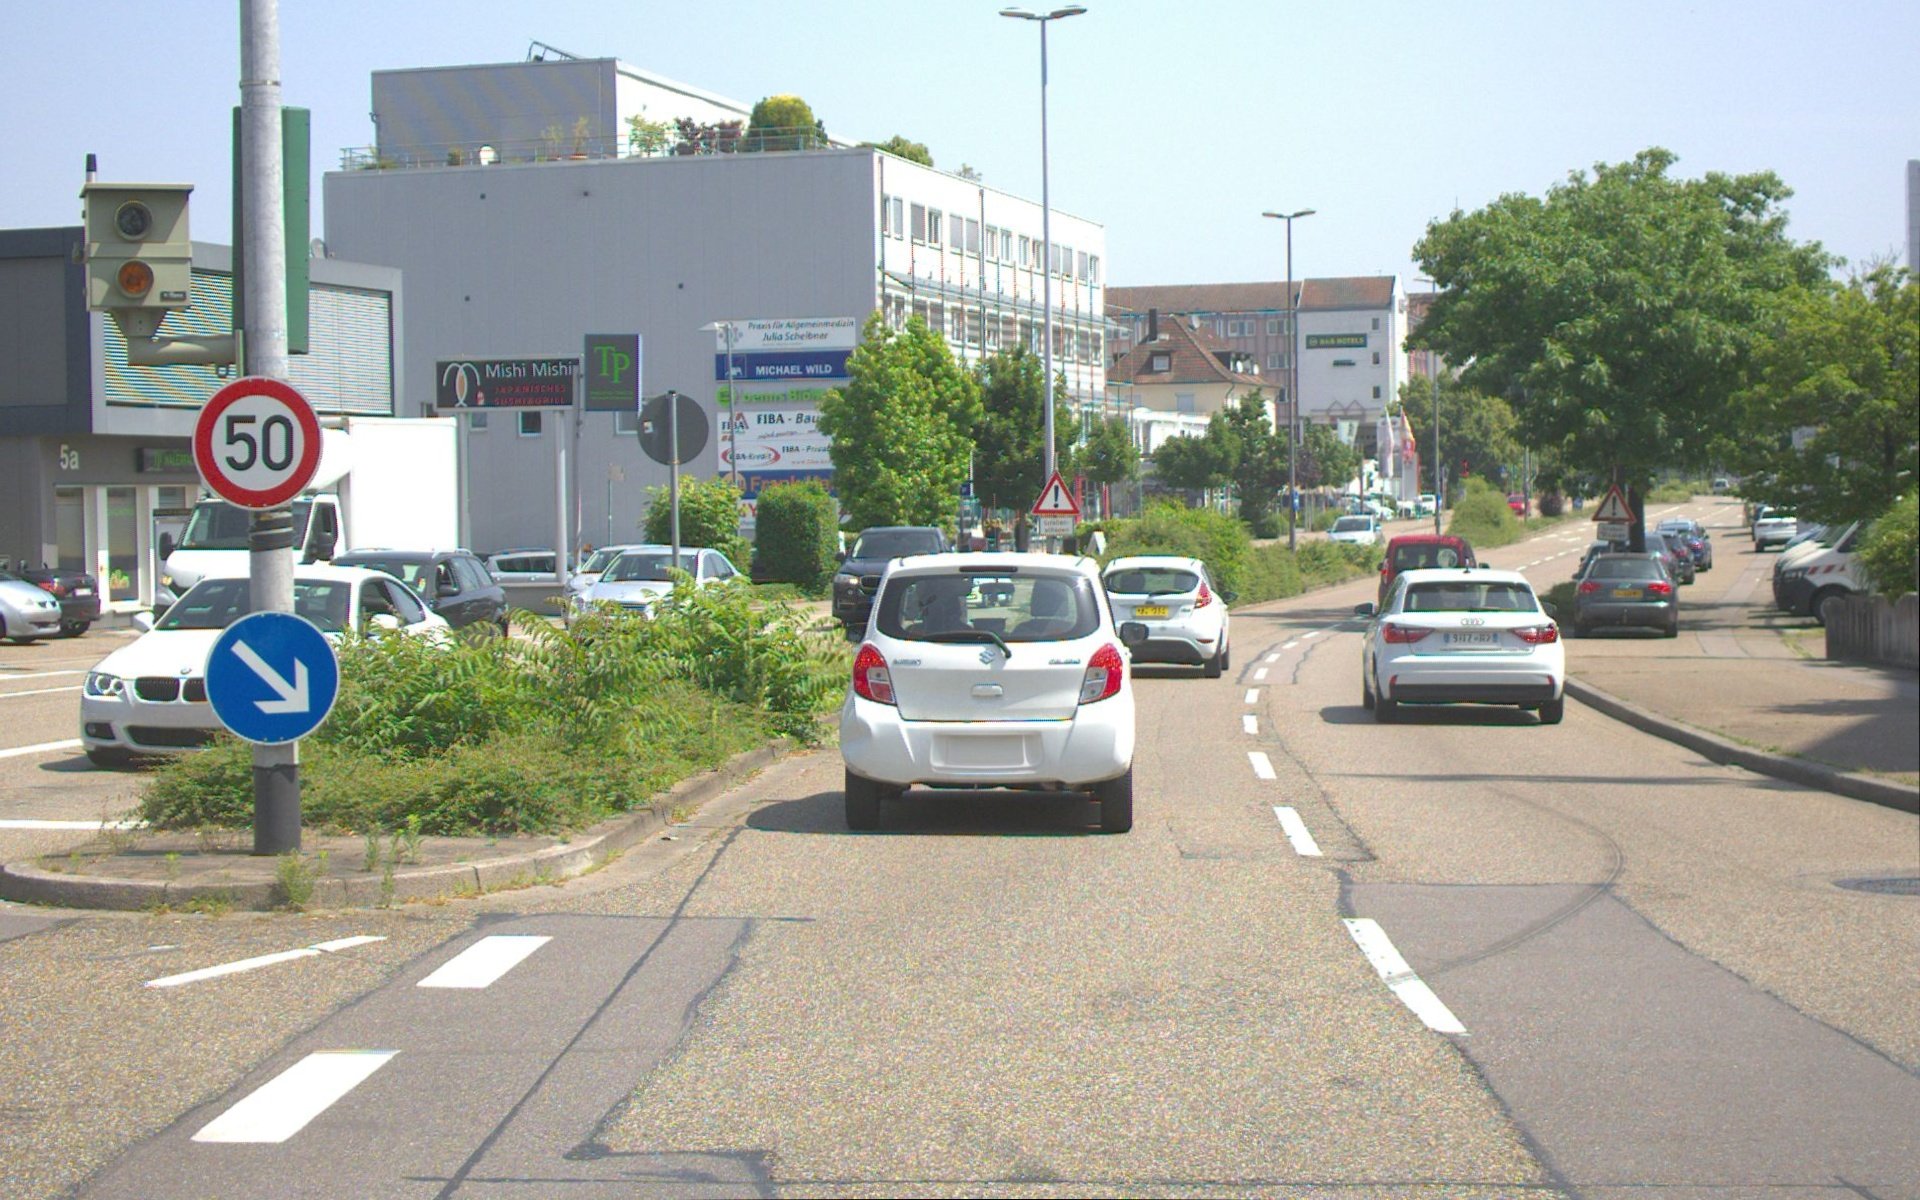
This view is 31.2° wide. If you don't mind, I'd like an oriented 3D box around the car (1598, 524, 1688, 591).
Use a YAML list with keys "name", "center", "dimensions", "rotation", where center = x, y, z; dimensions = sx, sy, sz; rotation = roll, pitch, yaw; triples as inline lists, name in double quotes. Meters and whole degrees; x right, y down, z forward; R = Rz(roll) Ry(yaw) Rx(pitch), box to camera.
- name: "car"
  center: [17.594, -1.117, 88.418]
  dimensions: [1.962, 1.524, 5.158]
  rotation: [-3, 1, 14]

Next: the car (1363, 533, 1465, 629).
- name: "car"
  center: [8.454, -0.375, 63.912]
  dimensions: [1.795, 1.723, 3.971]
  rotation: [1, 1, 8]

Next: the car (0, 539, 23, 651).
- name: "car"
  center: [-16.346, -0.180, 50.496]
  dimensions: [4.608, 1.622, 1.853]
  rotation: [3, 2, 14]

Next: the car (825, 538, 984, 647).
- name: "car"
  center: [-0.889, -0.130, 58.286]
  dimensions: [1.909, 1.745, 4.758]
  rotation: [1, 0, 9]

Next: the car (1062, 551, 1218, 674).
- name: "car"
  center: [2.223, 0.119, 42.880]
  dimensions: [1.830, 1.445, 4.000]
  rotation: [1, 1, 2]

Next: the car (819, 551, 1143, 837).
- name: "car"
  center: [0.118, 0.495, 20.001]
  dimensions: [1.712, 1.505, 3.247]
  rotation: [1, 0, 0]

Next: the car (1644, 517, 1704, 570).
- name: "car"
  center: [21.862, -1.743, 105.245]
  dimensions: [1.714, 1.543, 4.788]
  rotation: [-1, 1, 12]

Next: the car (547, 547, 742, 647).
- name: "car"
  center: [-4.450, -0.062, 49.110]
  dimensions: [1.898, 1.356, 4.197]
  rotation: [0, 1, 7]

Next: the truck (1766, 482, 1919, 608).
- name: "truck"
  center: [19.180, -1.166, 70.000]
  dimensions: [5.251, 2.427, 2.110]
  rotation: [-2, 1, 16]

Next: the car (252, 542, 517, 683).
- name: "car"
  center: [-6.245, 0.090, 37.790]
  dimensions: [1.802, 1.434, 4.576]
  rotation: [0, 1, 5]

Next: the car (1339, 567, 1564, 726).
- name: "car"
  center: [4.592, 0.397, 32.580]
  dimensions: [1.667, 1.394, 3.793]
  rotation: [0, 1, 1]

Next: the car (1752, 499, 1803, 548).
- name: "car"
  center: [29.239, -2.744, 122.892]
  dimensions: [1.668, 1.590, 4.610]
  rotation: [-1, 2, 14]

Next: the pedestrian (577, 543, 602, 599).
- name: "pedestrian"
  center: [-11.032, -0.870, 102.430]
  dimensions: [0.546, 1.651, 0.625]
  rotation: [1, 0, 13]

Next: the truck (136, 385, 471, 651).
- name: "truck"
  center: [-8.945, -1.074, 47.699]
  dimensions: [2.265, 3.406, 7.036]
  rotation: [1, 0, 9]

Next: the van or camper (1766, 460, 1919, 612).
- name: "van or camper"
  center: [19.252, -1.300, 67.049]
  dimensions: [6.800, 2.888, 2.274]
  rotation: [-1, 2, 14]

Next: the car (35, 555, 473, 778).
- name: "car"
  center: [-4.958, 0.401, 24.855]
  dimensions: [1.863, 1.426, 4.744]
  rotation: [0, 1, 4]

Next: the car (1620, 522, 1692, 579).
- name: "car"
  center: [19.058, -1.381, 94.277]
  dimensions: [1.855, 1.476, 5.154]
  rotation: [0, 2, 11]

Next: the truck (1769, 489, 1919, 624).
- name: "truck"
  center: [18.032, -0.854, 62.680]
  dimensions: [6.250, 2.328, 2.367]
  rotation: [-2, 2, 16]

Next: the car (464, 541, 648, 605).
- name: "car"
  center: [-9.442, -0.626, 80.384]
  dimensions: [3.988, 1.454, 1.575]
  rotation: [-1, 0, 9]

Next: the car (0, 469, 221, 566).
- name: "car"
  center: [-14.459, -1.333, 56.476]
  dimensions: [4.058, 1.516, 1.999]
  rotation: [-1, 1, 11]

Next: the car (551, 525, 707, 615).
- name: "car"
  center: [-5.919, -0.549, 61.957]
  dimensions: [1.898, 1.561, 4.197]
  rotation: [0, 1, 7]

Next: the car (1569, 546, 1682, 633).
- name: "car"
  center: [11.575, -0.211, 59.623]
  dimensions: [1.798, 1.401, 4.318]
  rotation: [1, 1, 12]

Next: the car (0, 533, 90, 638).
- name: "car"
  center: [-16.100, -0.328, 53.444]
  dimensions: [4.607, 1.491, 1.752]
  rotation: [3, 2, 6]
